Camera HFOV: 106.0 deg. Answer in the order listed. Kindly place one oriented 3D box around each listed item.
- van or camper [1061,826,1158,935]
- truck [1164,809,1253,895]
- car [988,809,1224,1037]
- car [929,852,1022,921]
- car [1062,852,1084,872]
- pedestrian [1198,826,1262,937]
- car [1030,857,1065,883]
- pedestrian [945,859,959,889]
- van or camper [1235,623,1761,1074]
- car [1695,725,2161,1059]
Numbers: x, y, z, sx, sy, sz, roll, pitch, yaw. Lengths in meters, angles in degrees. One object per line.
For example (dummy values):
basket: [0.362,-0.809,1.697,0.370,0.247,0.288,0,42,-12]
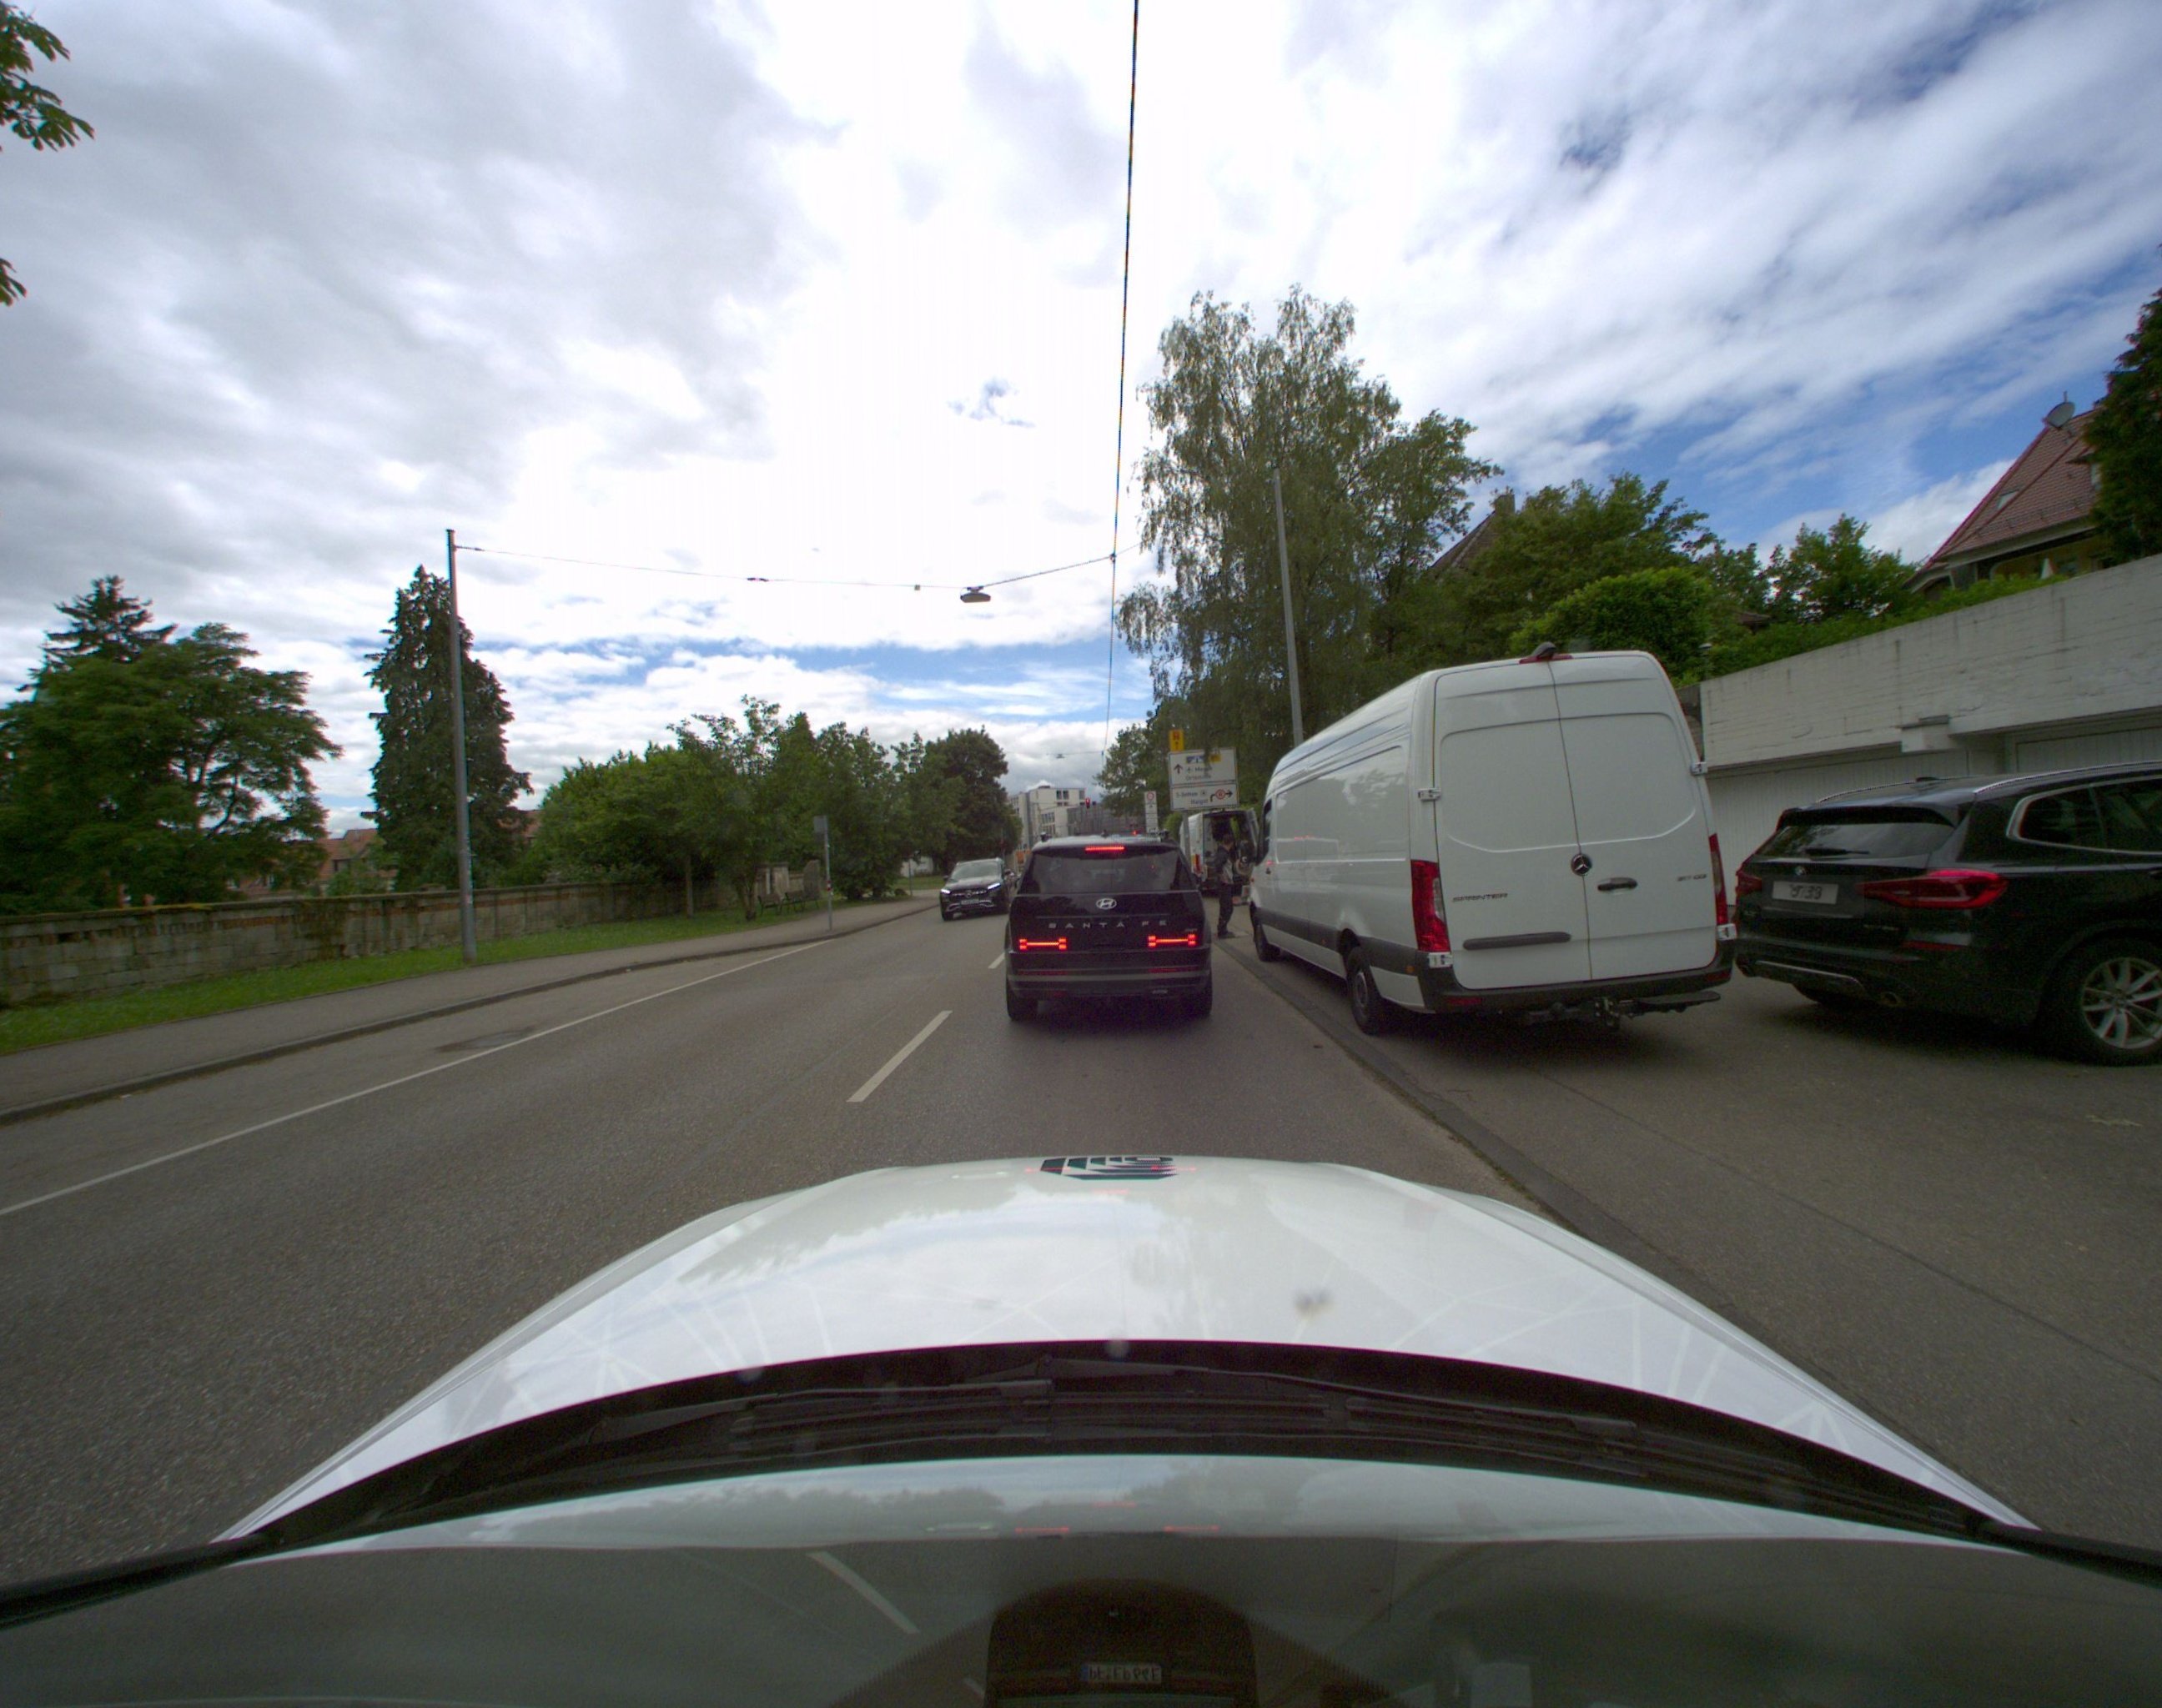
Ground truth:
van or camper: [0.613,0.510,17.607,1.748,2.013,4.002,-3,0,2]
truck: [4.257,-0.032,28.091,1.937,2.561,5.213,-5,-1,-1]
car: [0.265,0.568,8.664,1.883,1.819,4.002,-2,0,2]
car: [-2.931,0.852,23.610,1.852,1.657,4.307,-6,0,2]
car: [-0.715,0.731,76.465,1.779,1.653,4.120,-6,0,0]
pedestrian: [2.534,0.458,13.909,0.867,1.797,0.760,-3,0,1]
car: [-2.177,1.016,53.926,1.852,1.453,4.112,-6,0,2]
pedestrian: [-7.759,1.190,48.997,0.737,1.715,0.791,-3,0,-5]
van or camper: [3.132,-0.029,8.193,1.986,2.620,6.543,-3,0,2]
car: [6.862,0.127,5.224,4.398,1.750,1.739,-3,0,3]
